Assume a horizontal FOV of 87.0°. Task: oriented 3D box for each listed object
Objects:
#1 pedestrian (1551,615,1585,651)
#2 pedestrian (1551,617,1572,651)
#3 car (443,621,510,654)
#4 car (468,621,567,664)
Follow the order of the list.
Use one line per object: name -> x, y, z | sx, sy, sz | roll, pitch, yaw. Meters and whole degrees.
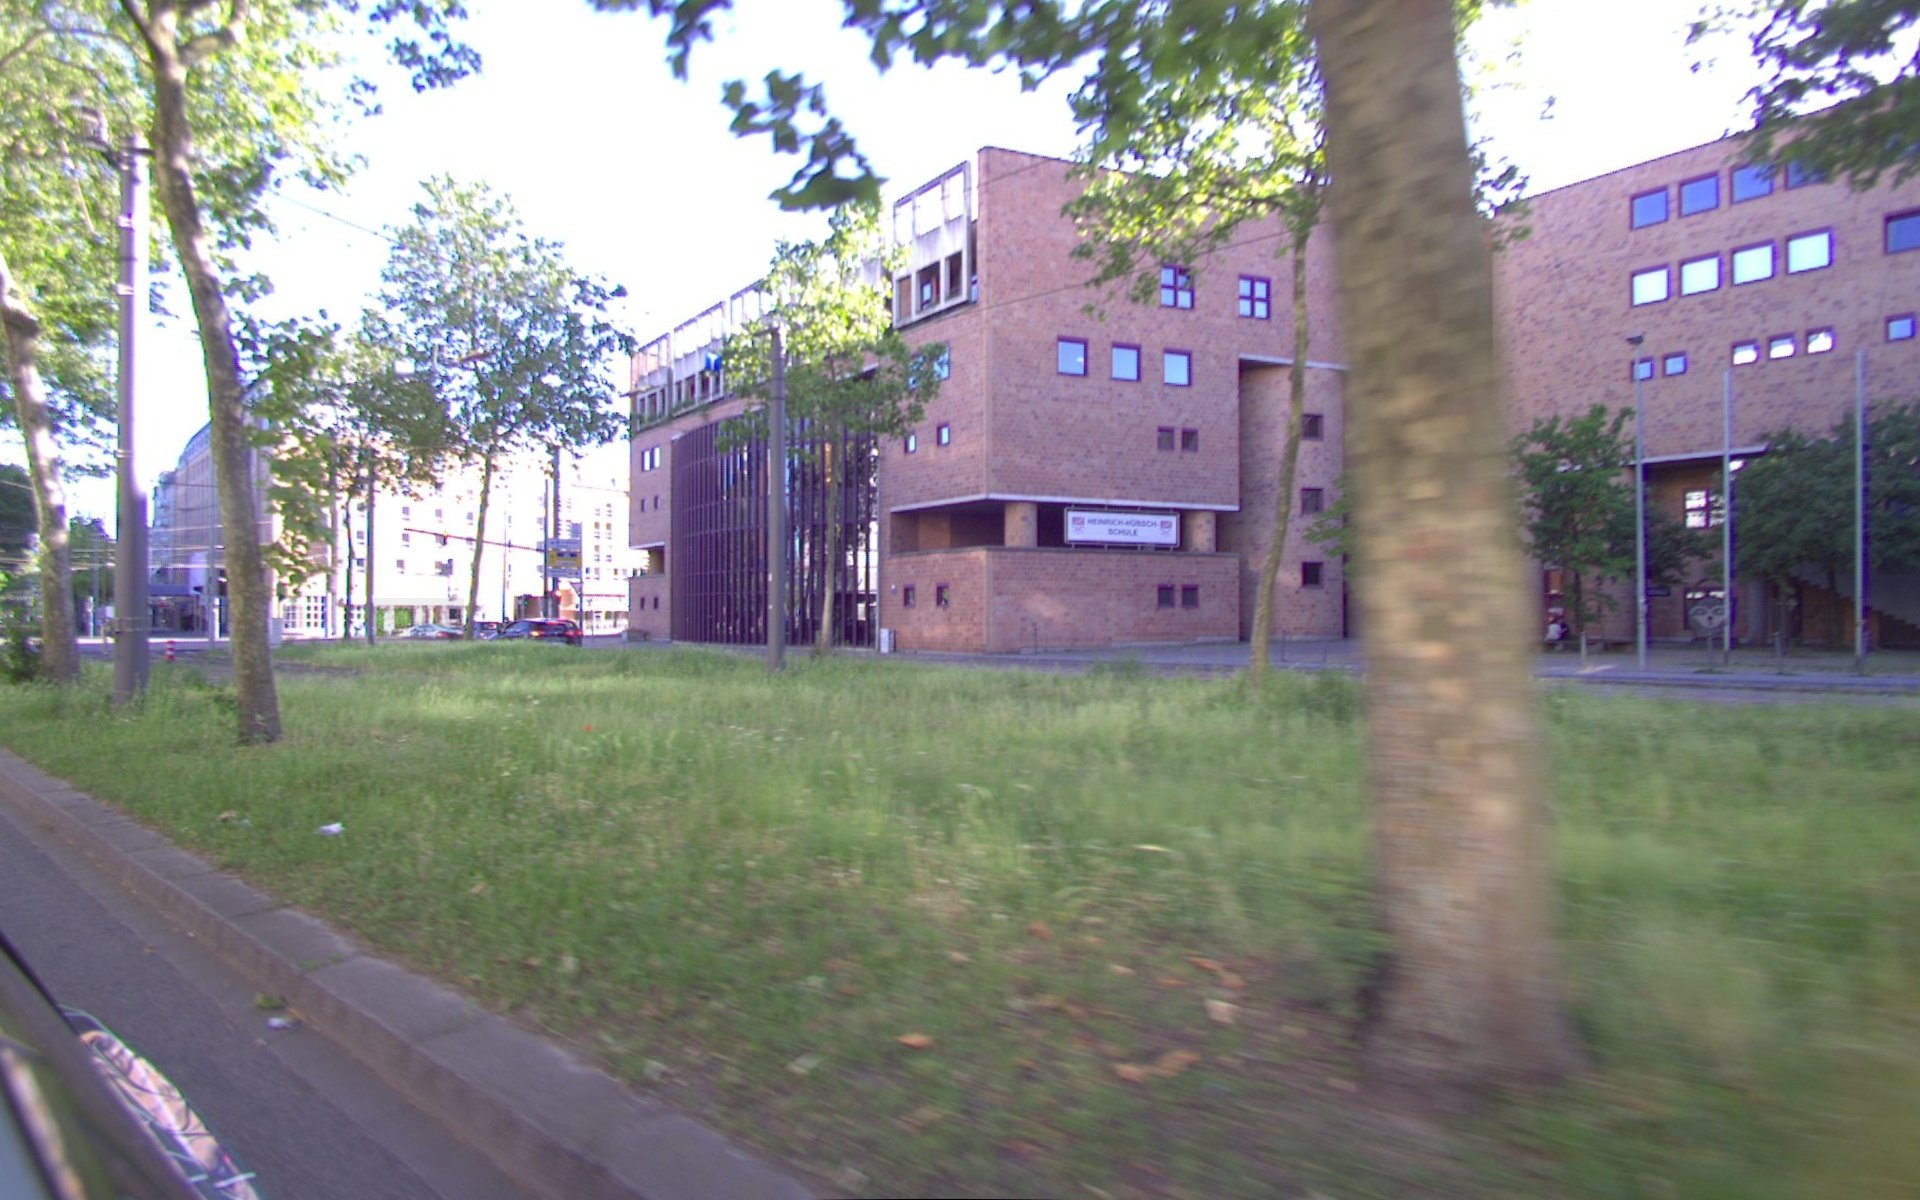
pedestrian -> 21.323, 1.156, 35.506 | 0.654, 1.260, 0.759 | 0, -1, -17
pedestrian -> 21.652, 1.217, 36.457 | 0.628, 1.207, 0.659 | -1, -1, 31
car -> -22.374, 1.709, 46.810 | 3.219, 1.440, 1.597 | -1, -2, 40
car -> -16.015, 1.510, 36.545 | 4.146, 1.440, 1.597 | -1, -2, 40
